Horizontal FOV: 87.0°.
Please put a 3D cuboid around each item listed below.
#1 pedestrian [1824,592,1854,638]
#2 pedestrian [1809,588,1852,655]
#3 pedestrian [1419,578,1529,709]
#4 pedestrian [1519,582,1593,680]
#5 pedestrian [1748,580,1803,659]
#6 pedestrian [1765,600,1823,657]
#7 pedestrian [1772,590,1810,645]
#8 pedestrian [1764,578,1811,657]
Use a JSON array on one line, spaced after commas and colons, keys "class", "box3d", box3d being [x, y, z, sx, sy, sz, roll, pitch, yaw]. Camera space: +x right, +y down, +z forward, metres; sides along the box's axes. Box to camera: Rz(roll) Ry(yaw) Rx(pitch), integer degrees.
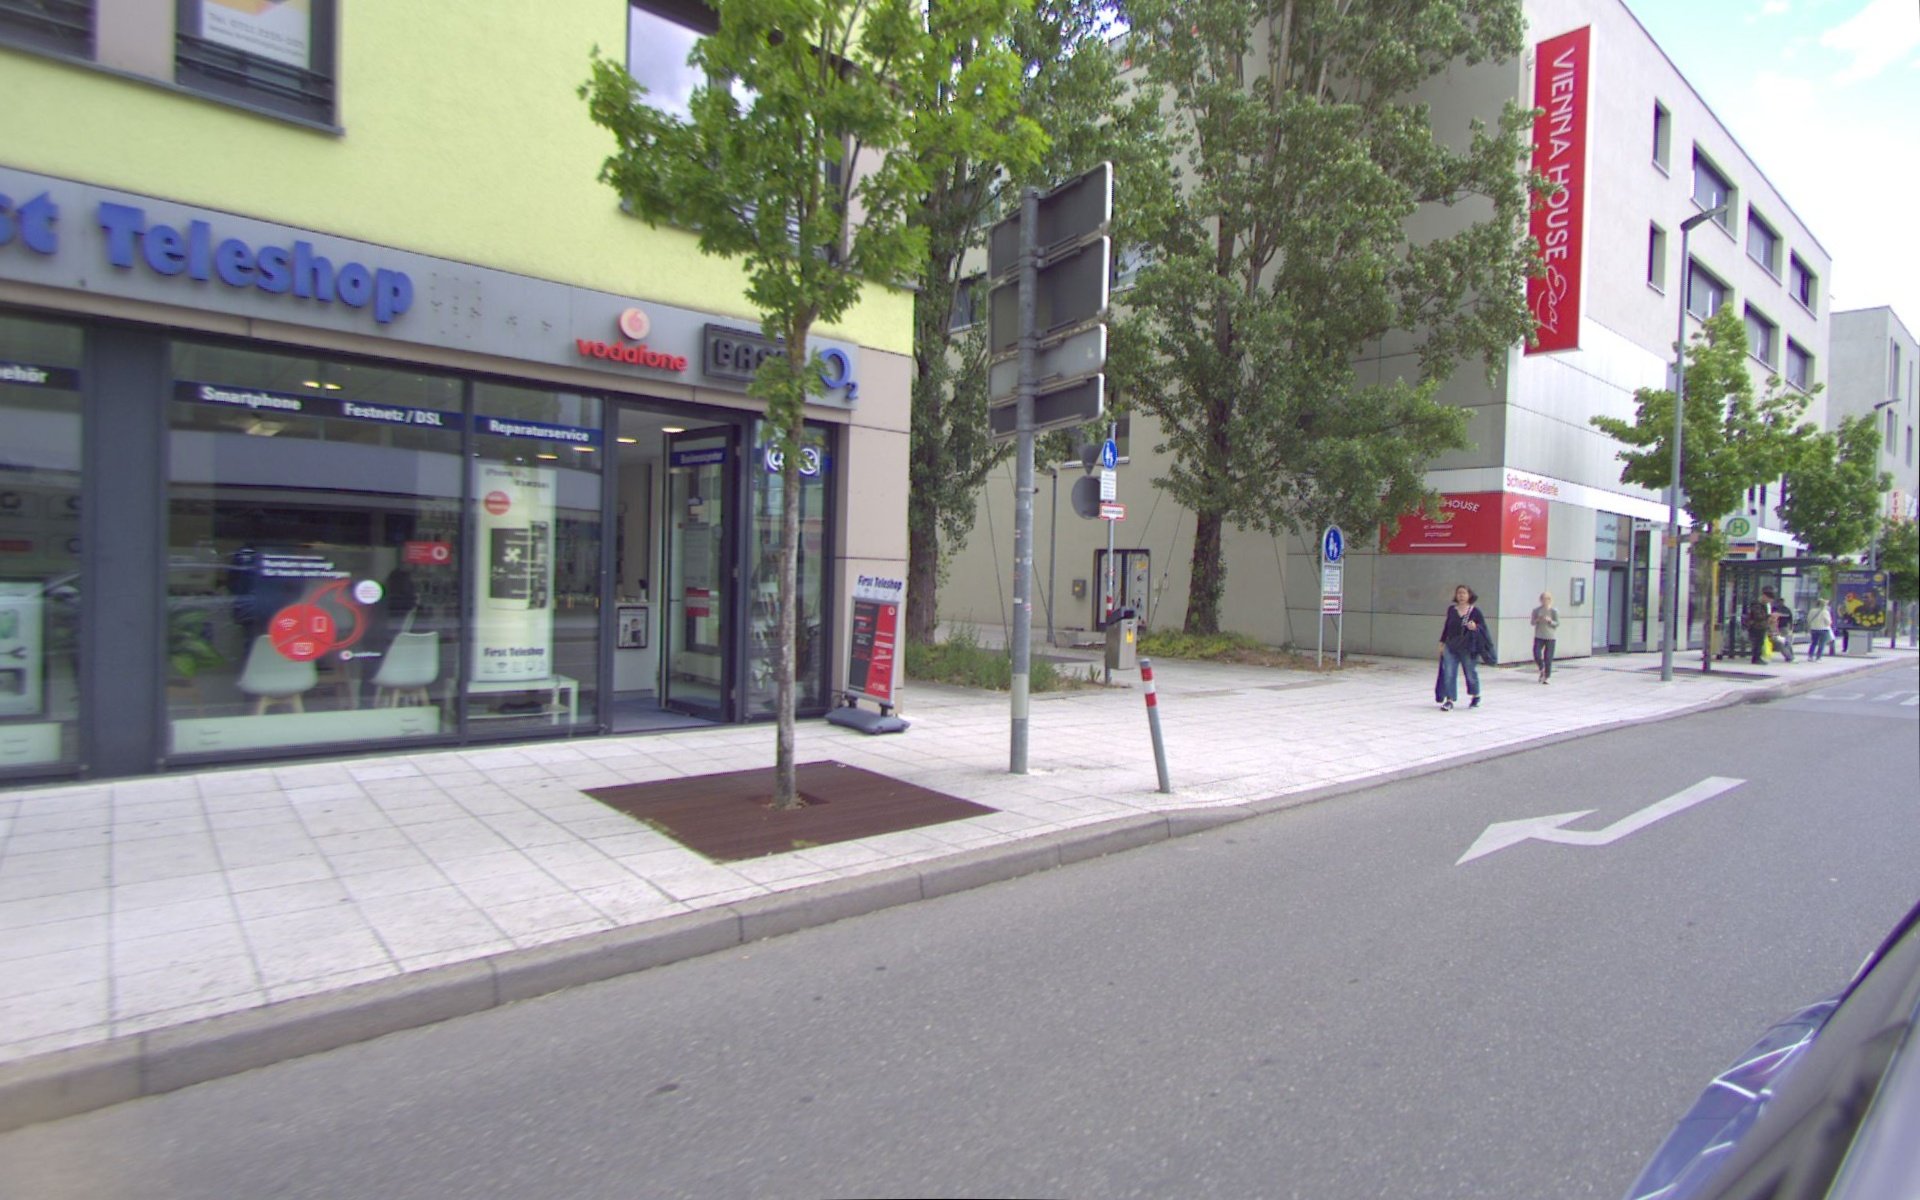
[{"class": "pedestrian", "box3d": [33.119, 0.574, 38.139, 0.603, 1.690, 0.746, 1, 1, -40]}, {"class": "pedestrian", "box3d": [21.519, 0.521, 25.010, 0.719, 1.610, 0.581, 1, 2, -35]}, {"class": "pedestrian", "box3d": [6.688, 0.528, 13.176, 0.998, 1.603, 0.949, 0, 1, -41]}, {"class": "pedestrian", "box3d": [10.283, 0.512, 17.468, 0.790, 1.603, 0.870, 0, 1, -41]}, {"class": "pedestrian", "box3d": [18.354, 0.430, 22.781, 0.719, 1.704, 0.723, 1, 2, -35]}, {"class": "pedestrian", "box3d": [20.056, 0.666, 24.350, 0.720, 1.274, 0.944, 0, 2, -43]}, {"class": "pedestrian", "box3d": [24.946, 0.514, 30.381, 0.702, 1.628, 0.742, 1, 1, -40]}, {"class": "pedestrian", "box3d": [19.393, 0.397, 23.718, 0.840, 1.791, 0.581, 1, 2, -35]}]
